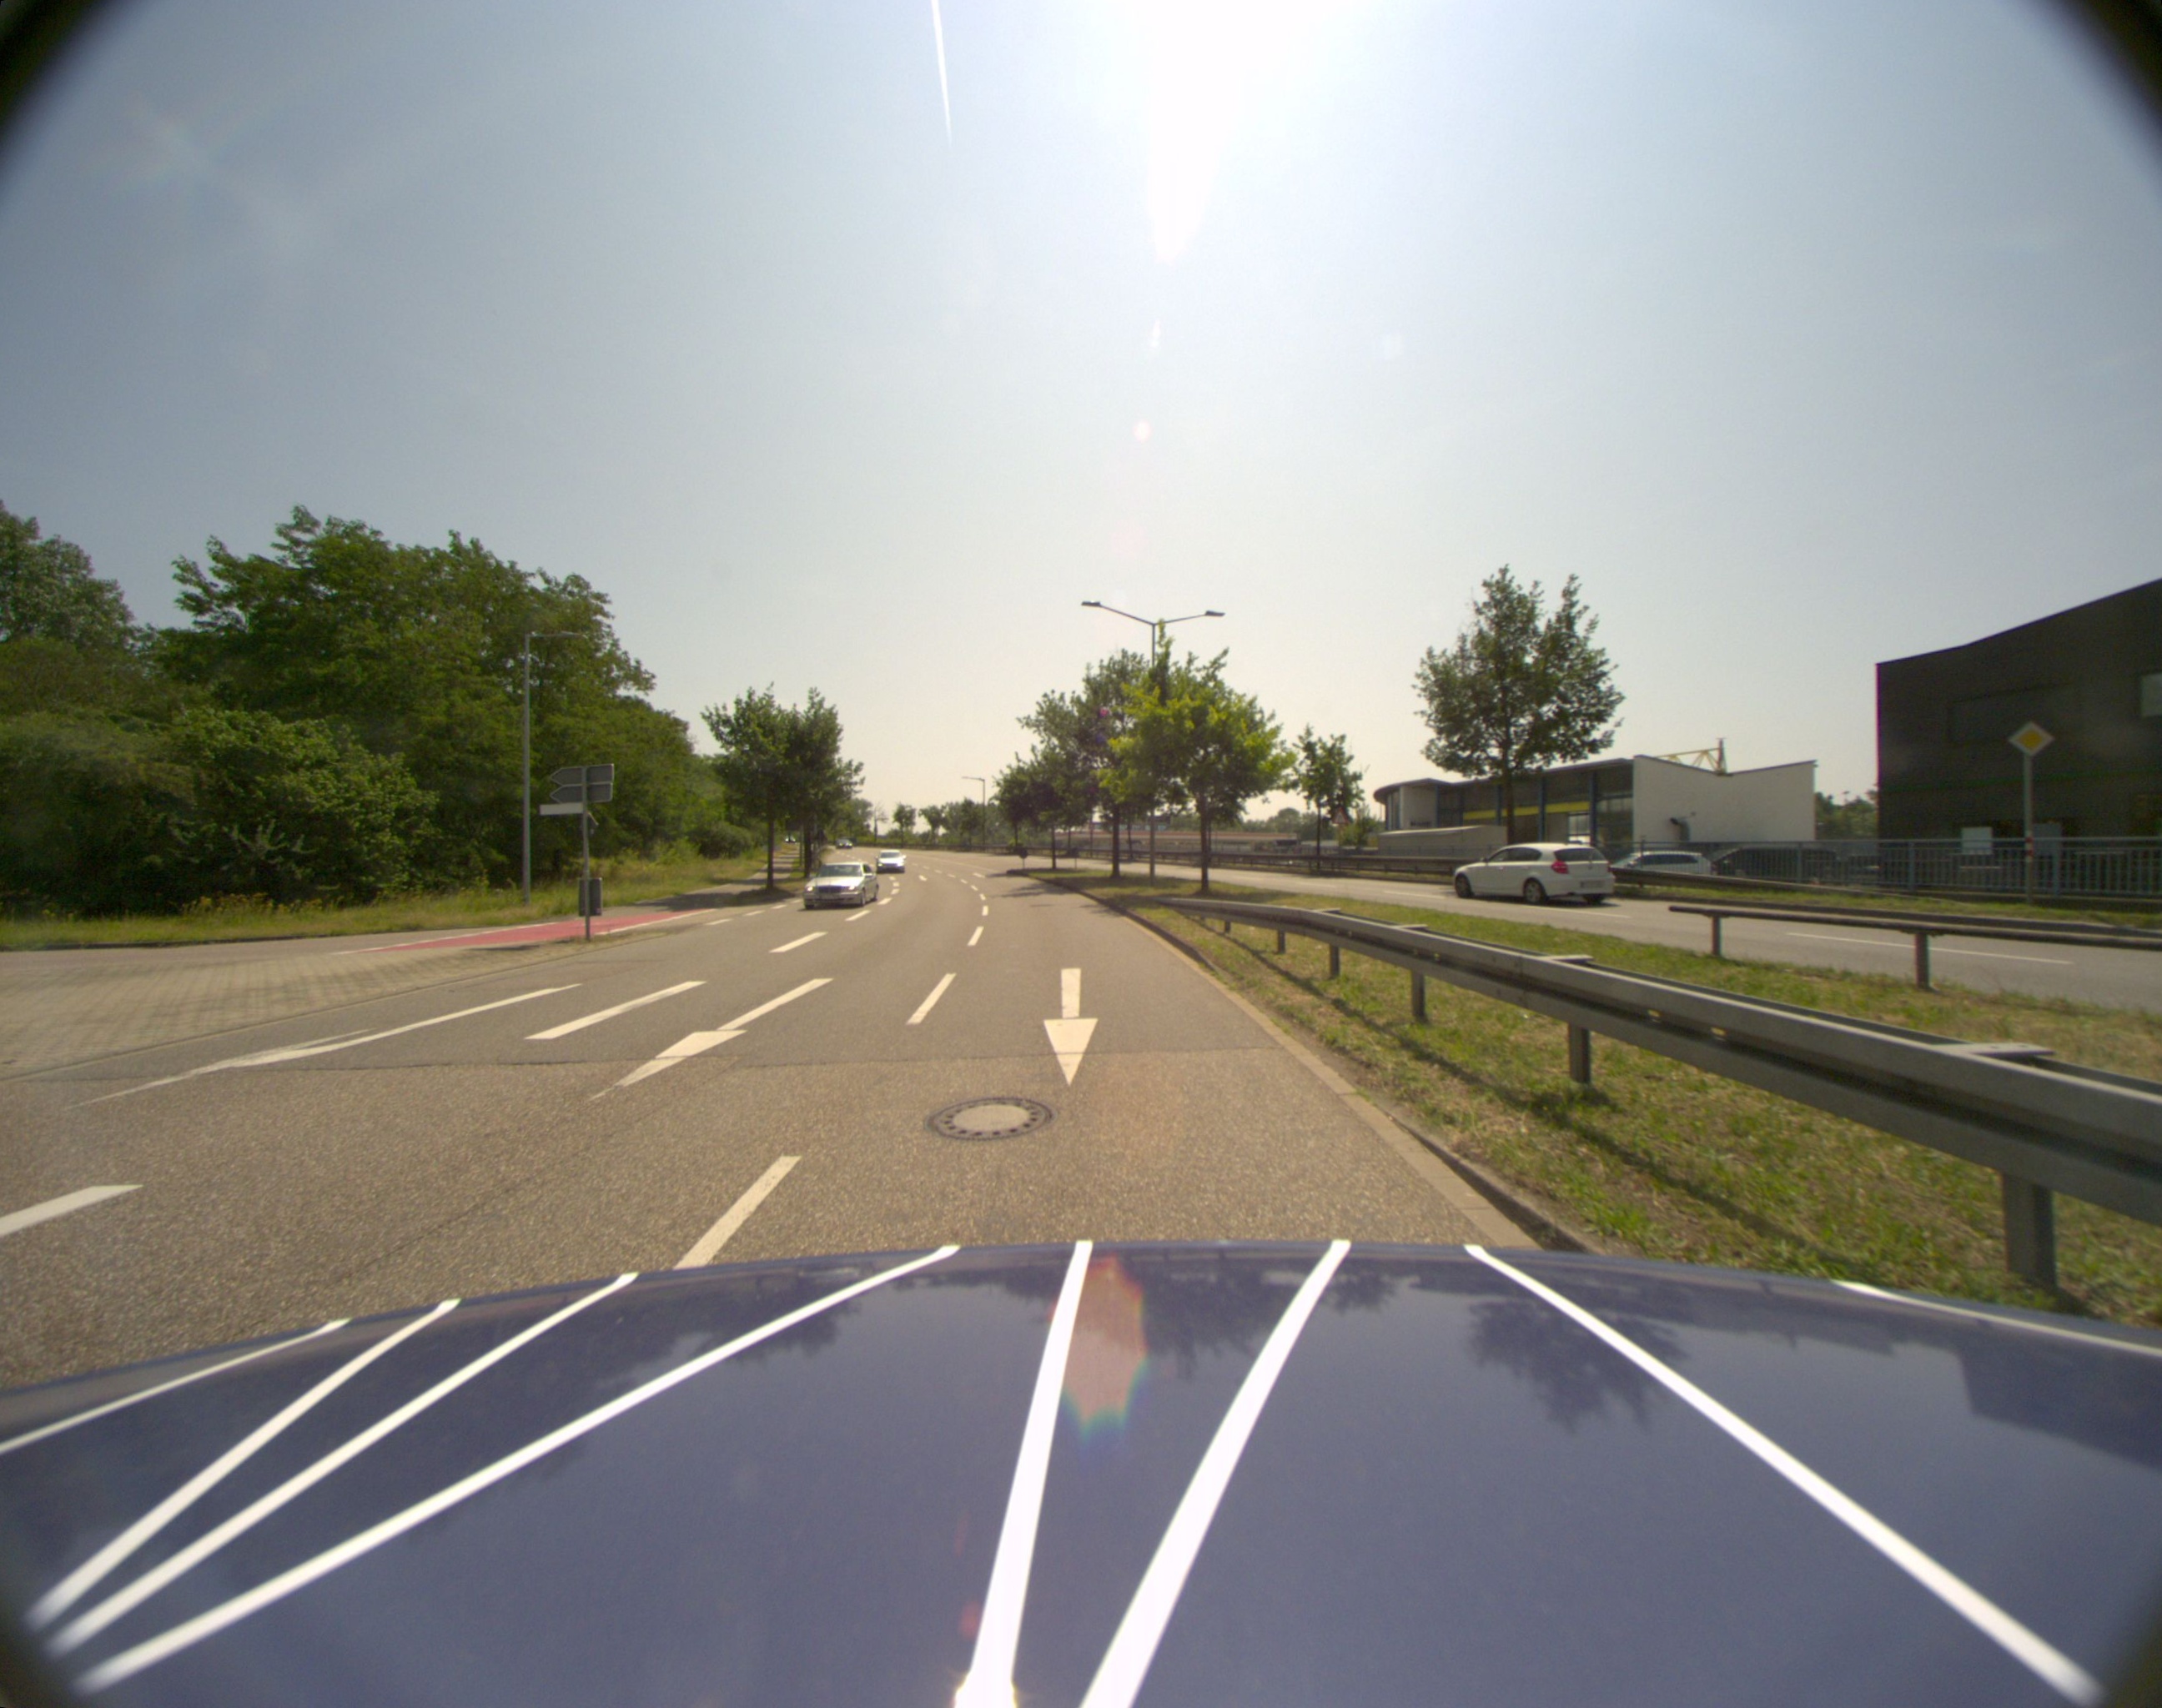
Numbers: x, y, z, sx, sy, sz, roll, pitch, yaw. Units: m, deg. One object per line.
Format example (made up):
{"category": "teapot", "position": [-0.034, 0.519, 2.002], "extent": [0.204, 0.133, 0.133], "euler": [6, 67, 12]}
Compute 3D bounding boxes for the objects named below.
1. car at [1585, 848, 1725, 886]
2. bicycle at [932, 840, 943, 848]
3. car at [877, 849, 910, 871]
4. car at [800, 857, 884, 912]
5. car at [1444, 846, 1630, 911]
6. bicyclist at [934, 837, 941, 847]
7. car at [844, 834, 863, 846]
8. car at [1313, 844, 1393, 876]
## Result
{"category": "car", "position": [21.991, 0.490, 29.288], "extent": [3.991, 1.371, 1.662], "euler": [0, 1, 19]}
{"category": "bicycle", "position": [-20.427, -1.422, 108.193], "extent": [0.738, 1.110, 2.040], "euler": [4, 0, -31]}
{"category": "car", "position": [-12.346, 0.381, 49.921], "extent": [2.001, 1.361, 4.227], "euler": [-1, 1, -15]}
{"category": "car", "position": [-7.501, 0.897, 24.260], "extent": [1.764, 1.490, 4.230], "euler": [-1, 1, -7]}
{"category": "car", "position": [11.071, 0.509, 18.837], "extent": [1.659, 1.371, 4.214], "euler": [-2, 1, -8]}
{"category": "bicyclist", "position": [-20.422, -1.729, 108.200], "extent": [0.733, 1.457, 0.822], "euler": [4, 1, -30]}
{"category": "car", "position": [-36.823, -2.265, 123.096], "extent": [1.924, 1.642, 4.397], "euler": [0, -1, -31]}
{"category": "car", "position": [14.659, 0.293, 41.299], "extent": [1.904, 1.560, 4.634], "euler": [2, 1, -12]}
